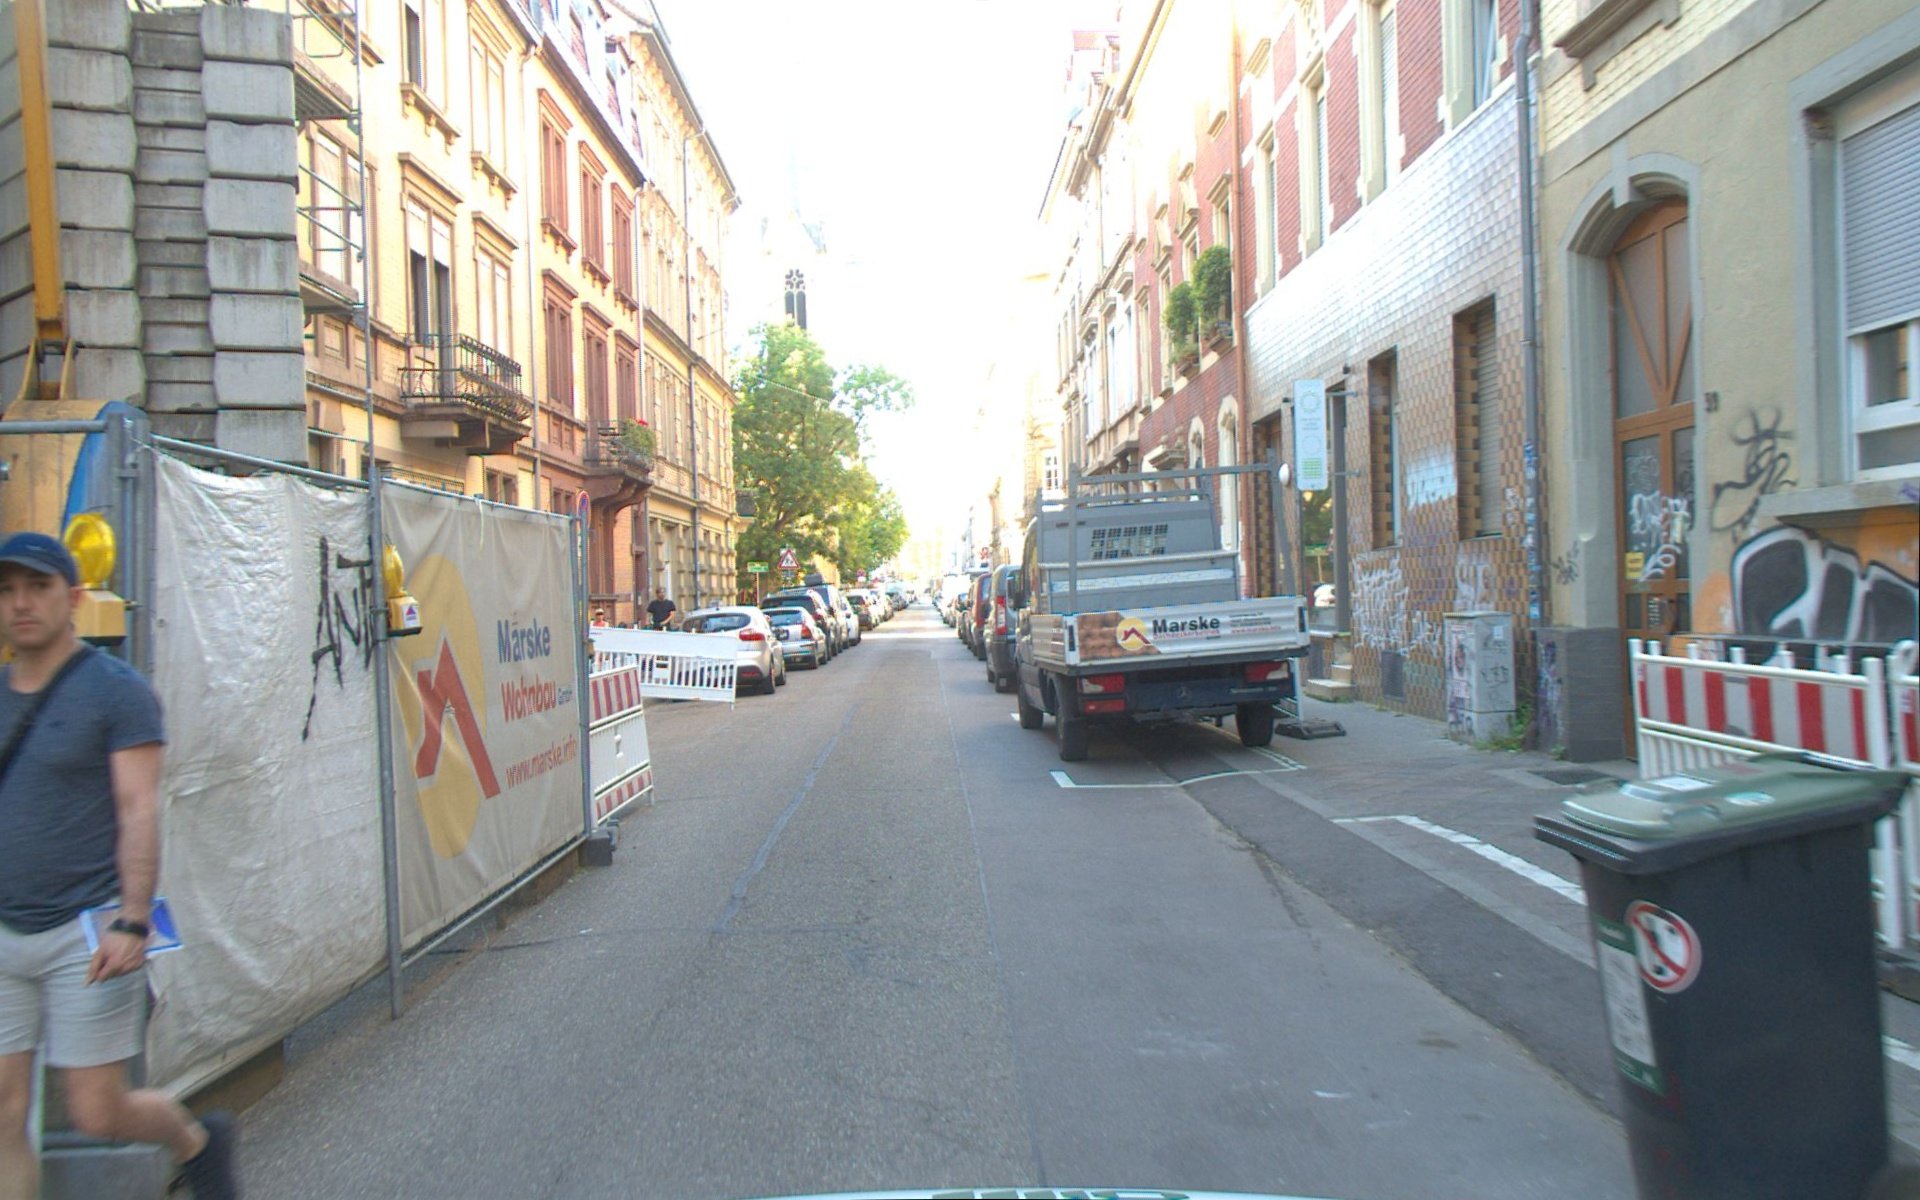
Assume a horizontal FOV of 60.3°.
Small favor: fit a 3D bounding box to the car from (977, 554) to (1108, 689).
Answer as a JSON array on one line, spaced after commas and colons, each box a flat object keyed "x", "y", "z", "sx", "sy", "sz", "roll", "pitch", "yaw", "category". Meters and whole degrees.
[{"x": 1.252, "y": 0.312, "z": 26.952, "sx": 1.807, "sy": 2.018, "sz": 4.575, "roll": 0, "pitch": 0, "yaw": -1, "category": "car"}]

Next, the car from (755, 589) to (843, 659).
[{"x": -3.993, "y": 0.565, "z": 41.550, "sx": 1.751, "sy": 1.653, "sz": 4.607, "roll": -1, "pitch": 0, "yaw": 0, "category": "car"}]

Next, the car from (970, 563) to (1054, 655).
[{"x": 1.193, "y": 0.200, "z": 39.770, "sx": 1.795, "sy": 2.049, "sz": 4.741, "roll": -1, "pitch": 0, "yaw": -1, "category": "car"}]

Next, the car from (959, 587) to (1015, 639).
[{"x": 0.829, "y": 0.371, "z": 52.664, "sx": 1.633, "sy": 1.505, "sz": 3.887, "roll": -2, "pitch": 1, "yaw": -1, "category": "car"}]

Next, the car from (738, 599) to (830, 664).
[{"x": -3.875, "y": 0.674, "z": 36.997, "sx": 1.664, "sy": 1.337, "sz": 3.999, "roll": 1, "pitch": 0, "yaw": -1, "category": "car"}]

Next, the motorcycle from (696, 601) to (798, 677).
[{"x": -4.291, "y": 0.801, "z": 33.241, "sx": 0.838, "sy": 1.383, "sz": 2.162, "roll": -5, "pitch": 0, "yaw": -43, "category": "motorcycle"}]

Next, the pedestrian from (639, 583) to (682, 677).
[{"x": -5.924, "y": 0.581, "z": 32.746, "sx": 0.672, "sy": 1.796, "sz": 0.887, "roll": -2, "pitch": 0, "yaw": -4, "category": "pedestrian"}]

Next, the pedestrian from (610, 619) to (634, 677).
[{"x": -6.632, "y": 0.939, "z": 32.457, "sx": 0.386, "sy": 1.105, "sz": 0.431, "roll": -1, "pitch": 0, "yaw": -6, "category": "pedestrian"}]

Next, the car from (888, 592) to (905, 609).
[{"x": -7.046, "y": 0.033, "z": 184.468, "sx": 1.838, "sy": 1.827, "sz": 3.998, "roll": -2, "pitch": 0, "yaw": -2, "category": "car"}]

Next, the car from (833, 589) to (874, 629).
[{"x": -4.827, "y": 0.400, "z": 75.171, "sx": 1.706, "sy": 1.675, "sz": 4.286, "roll": -2, "pitch": 0, "yaw": -3, "category": "car"}]

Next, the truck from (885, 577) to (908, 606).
[{"x": -7.718, "y": -1.016, "z": 200.980, "sx": 2.481, "sy": 3.339, "sz": 6.993, "roll": -2, "pitch": 0, "yaw": -1, "category": "truck"}]

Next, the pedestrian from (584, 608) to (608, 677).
[{"x": -7.128, "y": 0.825, "z": 32.430, "sx": 0.386, "sy": 1.329, "sz": 0.431, "roll": -1, "pitch": 0, "yaw": -6, "category": "pedestrian"}]

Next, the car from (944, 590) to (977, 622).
[{"x": -0.004, "y": 0.310, "z": 91.785, "sx": 1.771, "sy": 1.719, "sz": 4.213, "roll": 0, "pitch": 0, "yaw": 0, "category": "car"}]

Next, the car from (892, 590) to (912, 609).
[{"x": -5.699, "y": -0.042, "z": 162.565, "sx": 1.837, "sy": 1.827, "sz": 3.999, "roll": -2, "pitch": 0, "yaw": -1, "category": "car"}]

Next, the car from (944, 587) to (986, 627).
[{"x": 0.199, "y": 0.306, "z": 76.886, "sx": 1.669, "sy": 1.744, "sz": 3.936, "roll": -3, "pitch": 0, "yaw": -3, "category": "car"}]

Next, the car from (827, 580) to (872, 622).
[{"x": -5.367, "y": -0.001, "z": 80.690, "sx": 1.808, "sy": 1.894, "sz": 4.465, "roll": -3, "pitch": 1, "yaw": 0, "category": "car"}]

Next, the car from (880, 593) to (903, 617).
[{"x": -5.138, "y": 0.393, "z": 123.787, "sx": 1.568, "sy": 1.642, "sz": 3.807, "roll": -5, "pitch": 0, "yaw": -2, "category": "car"}]

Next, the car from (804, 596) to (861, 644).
[{"x": -3.999, "y": 0.612, "z": 52.246, "sx": 1.640, "sy": 1.445, "sz": 3.872, "roll": -1, "pitch": 0, "yaw": -2, "category": "car"}]

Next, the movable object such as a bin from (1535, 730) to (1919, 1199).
[{"x": 1.849, "y": 0.889, "z": 3.848, "sx": 0.725, "sy": 1.075, "sz": 0.687, "roll": -3, "pitch": 0, "yaw": -1, "category": "movable object such as a bin"}]

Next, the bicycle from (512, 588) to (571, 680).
[{"x": -6.849, "y": 0.545, "z": 27.130, "sx": 0.513, "sy": 1.450, "sz": 1.712, "roll": 1, "pitch": 0, "yaw": 0, "category": "bicycle"}]

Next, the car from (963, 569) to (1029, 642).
[{"x": 0.994, "y": 0.137, "z": 47.437, "sx": 1.733, "sy": 1.995, "sz": 4.263, "roll": -1, "pitch": 0, "yaw": -1, "category": "car"}]

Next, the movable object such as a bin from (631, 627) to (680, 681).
[{"x": -5.804, "y": 1.019, "z": 31.596, "sx": 0.747, "sy": 0.948, "sz": 1.414, "roll": -2, "pitch": 0, "yaw": -5, "category": "movable object such as a bin"}]

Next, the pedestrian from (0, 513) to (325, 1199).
[{"x": -1.878, "y": 0.686, "z": 3.598, "sx": 0.581, "sy": 1.672, "sz": 0.812, "roll": -4, "pitch": 0, "yaw": -1, "category": "pedestrian"}]

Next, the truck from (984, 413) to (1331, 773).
[{"x": 1.665, "y": -0.074, "z": 16.605, "sx": 2.107, "sy": 2.702, "sz": 6.249, "roll": -6, "pitch": 1, "yaw": -4, "category": "truck"}]

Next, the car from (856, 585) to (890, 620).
[{"x": -5.364, "y": 0.124, "z": 102.481, "sx": 1.827, "sy": 1.991, "sz": 4.609, "roll": -4, "pitch": 0, "yaw": -2, "category": "car"}]

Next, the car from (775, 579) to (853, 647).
[{"x": -4.139, "y": 0.352, "z": 47.537, "sx": 1.854, "sy": 1.816, "sz": 4.607, "roll": -1, "pitch": 0, "yaw": -1, "category": "car"}]

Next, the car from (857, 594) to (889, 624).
[{"x": -5.034, "y": 0.498, "z": 96.163, "sx": 1.707, "sy": 1.614, "sz": 3.868, "roll": -2, "pitch": 0, "yaw": -1, "category": "car"}]

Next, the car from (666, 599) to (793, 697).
[{"x": -3.859, "y": 0.755, "z": 28.271, "sx": 1.640, "sy": 1.443, "sz": 3.998, "roll": -4, "pitch": 0, "yaw": -2, "category": "car"}]

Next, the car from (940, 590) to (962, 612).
[{"x": -0.667, "y": 0.056, "z": 122.257, "sx": 1.571, "sy": 1.531, "sz": 4.000, "roll": -1, "pitch": 0, "yaw": 0, "category": "car"}]

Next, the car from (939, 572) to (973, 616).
[{"x": -0.274, "y": -0.391, "z": 106.447, "sx": 2.026, "sy": 2.656, "sz": 5.887, "roll": -2, "pitch": 0, "yaw": -1, "category": "car"}]
